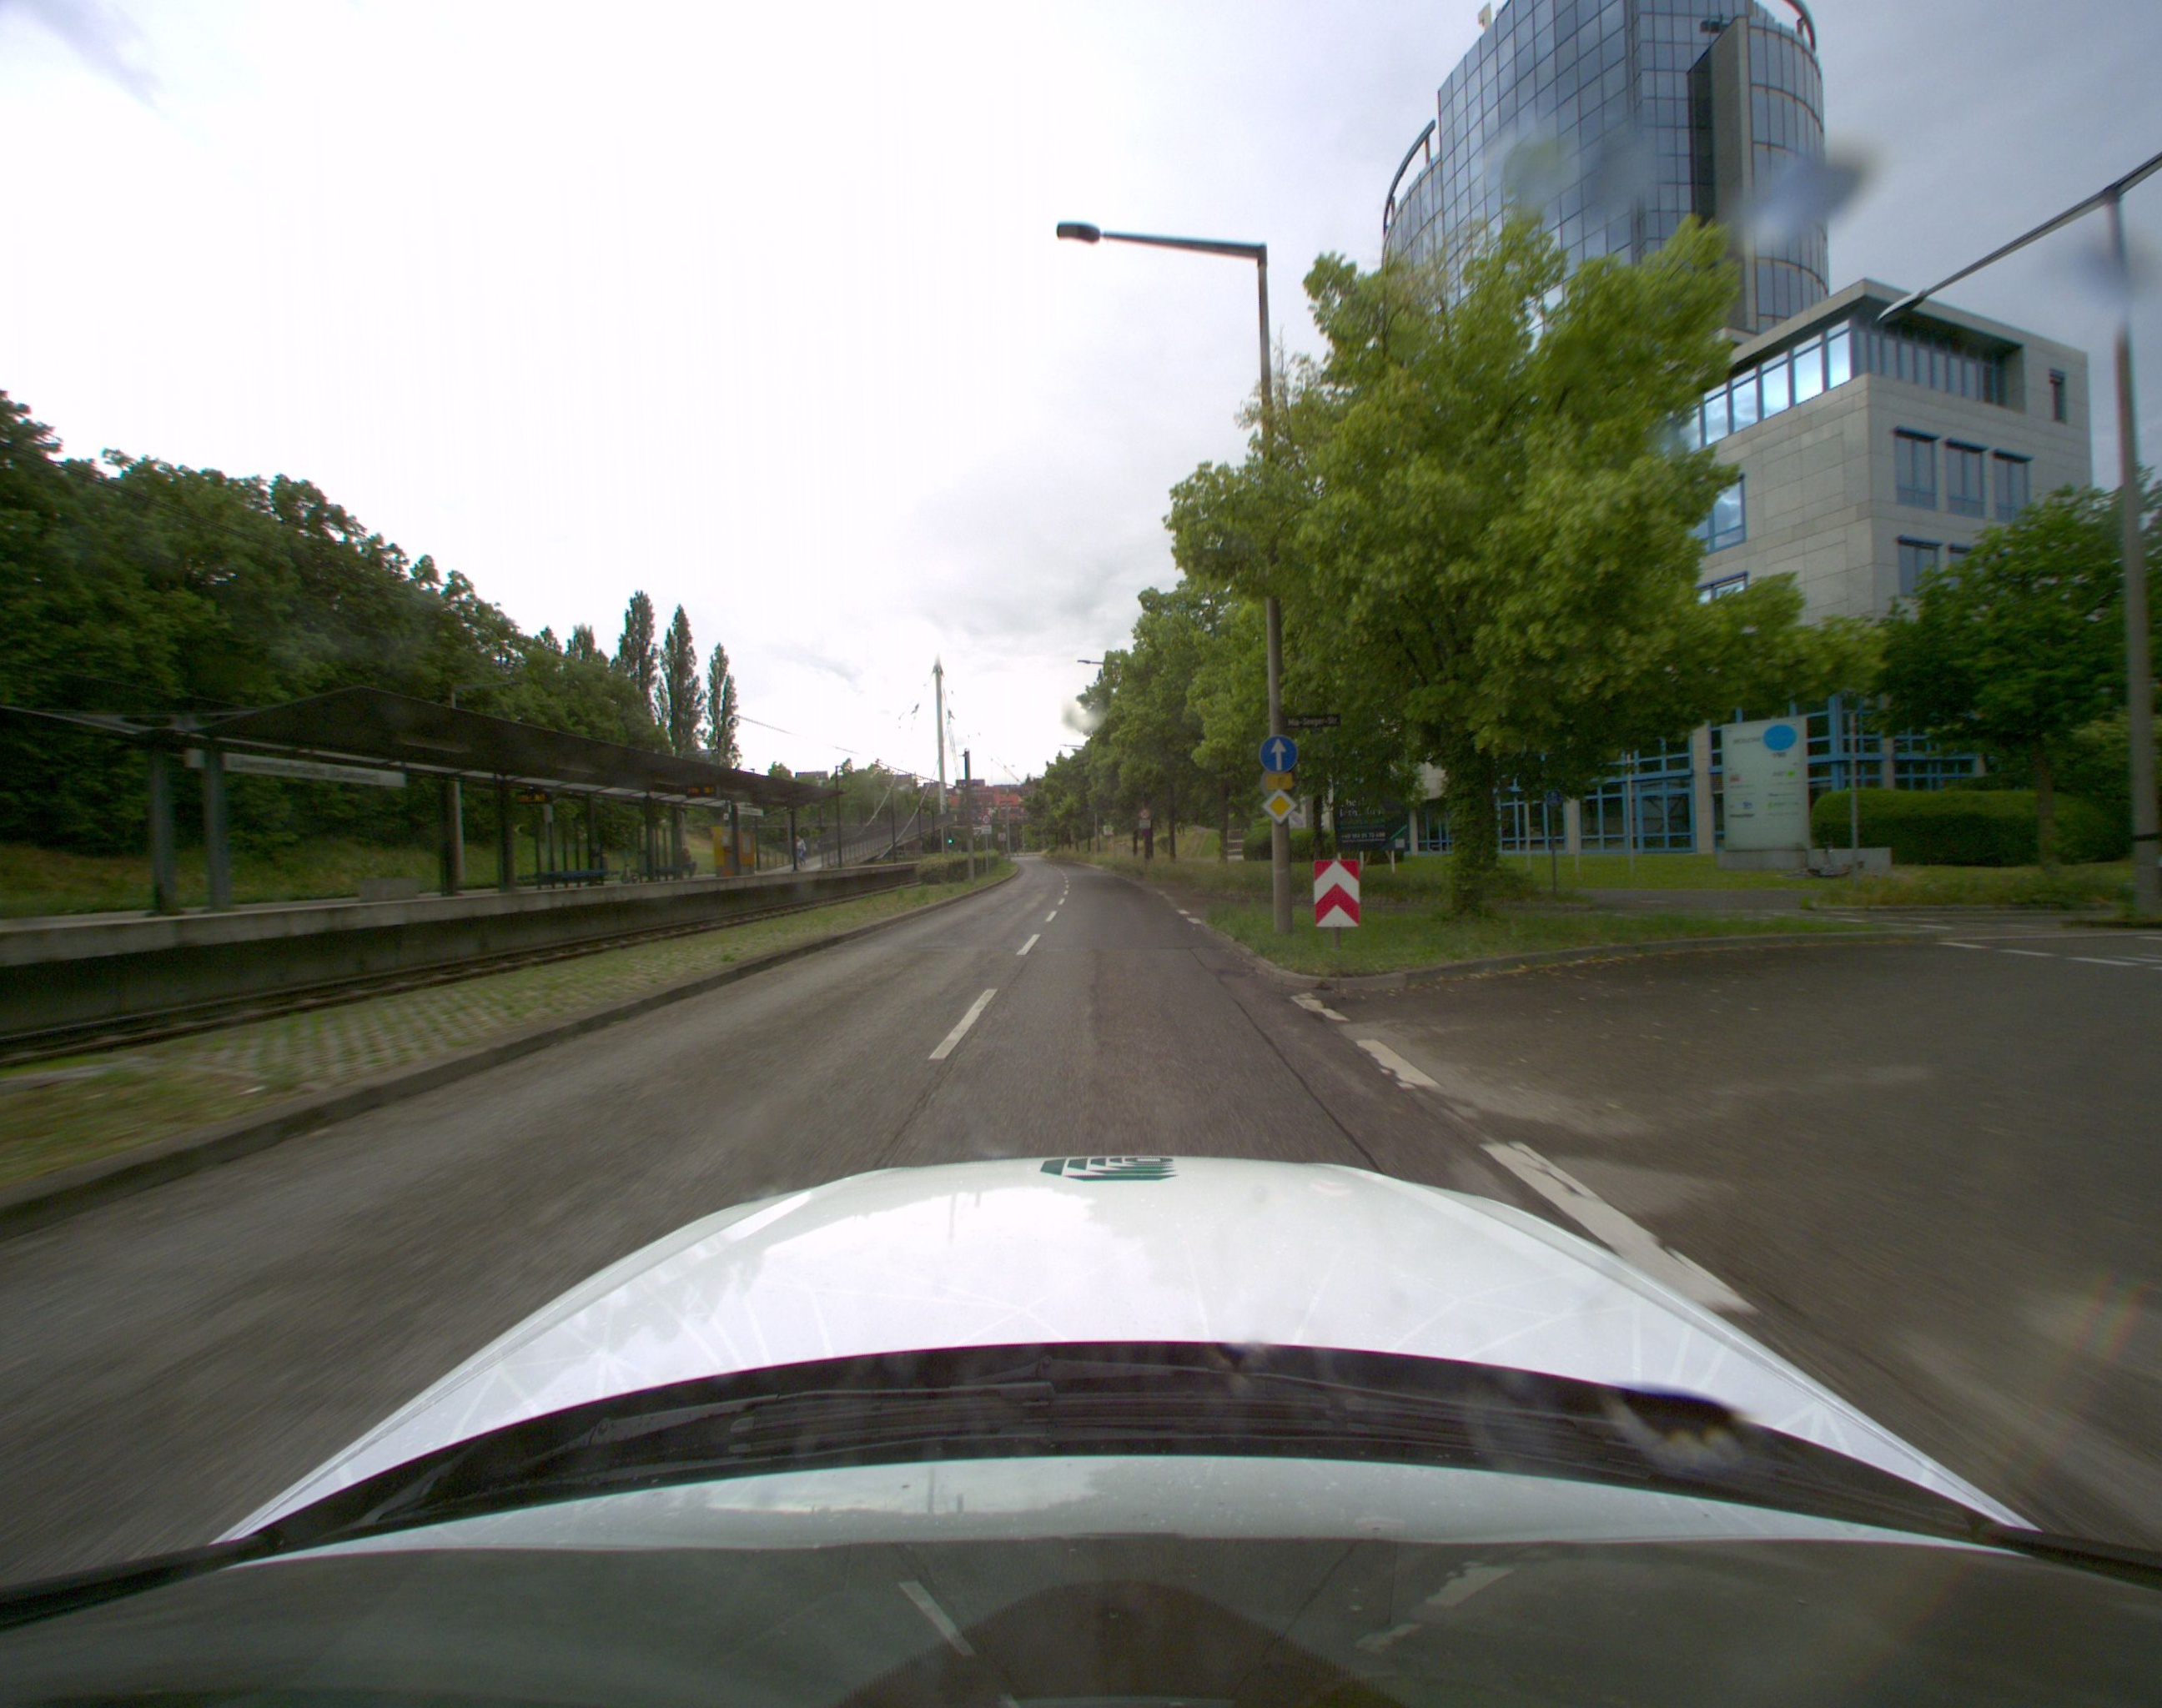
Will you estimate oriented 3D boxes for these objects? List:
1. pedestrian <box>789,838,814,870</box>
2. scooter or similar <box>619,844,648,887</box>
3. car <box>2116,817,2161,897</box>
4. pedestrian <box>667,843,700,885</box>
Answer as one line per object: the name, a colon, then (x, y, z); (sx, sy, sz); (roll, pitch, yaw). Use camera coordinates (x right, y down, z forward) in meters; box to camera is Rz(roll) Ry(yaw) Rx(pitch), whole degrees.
pedestrian: (-14.401, -0.012, 42.056); (0.933, 1.611, 1.026); (-1, -1, -3)
scooter or similar: (-12.990, 0.330, 23.622); (1.284, 1.218, 0.382); (-1, -2, 44)
car: (24.600, 0.008, 16.766); (4.076, 1.642, 1.761); (-2, 1, 6)
pedestrian: (-13.358, 0.338, 27.356); (0.751, 1.356, 0.691); (-1, -1, -3)
